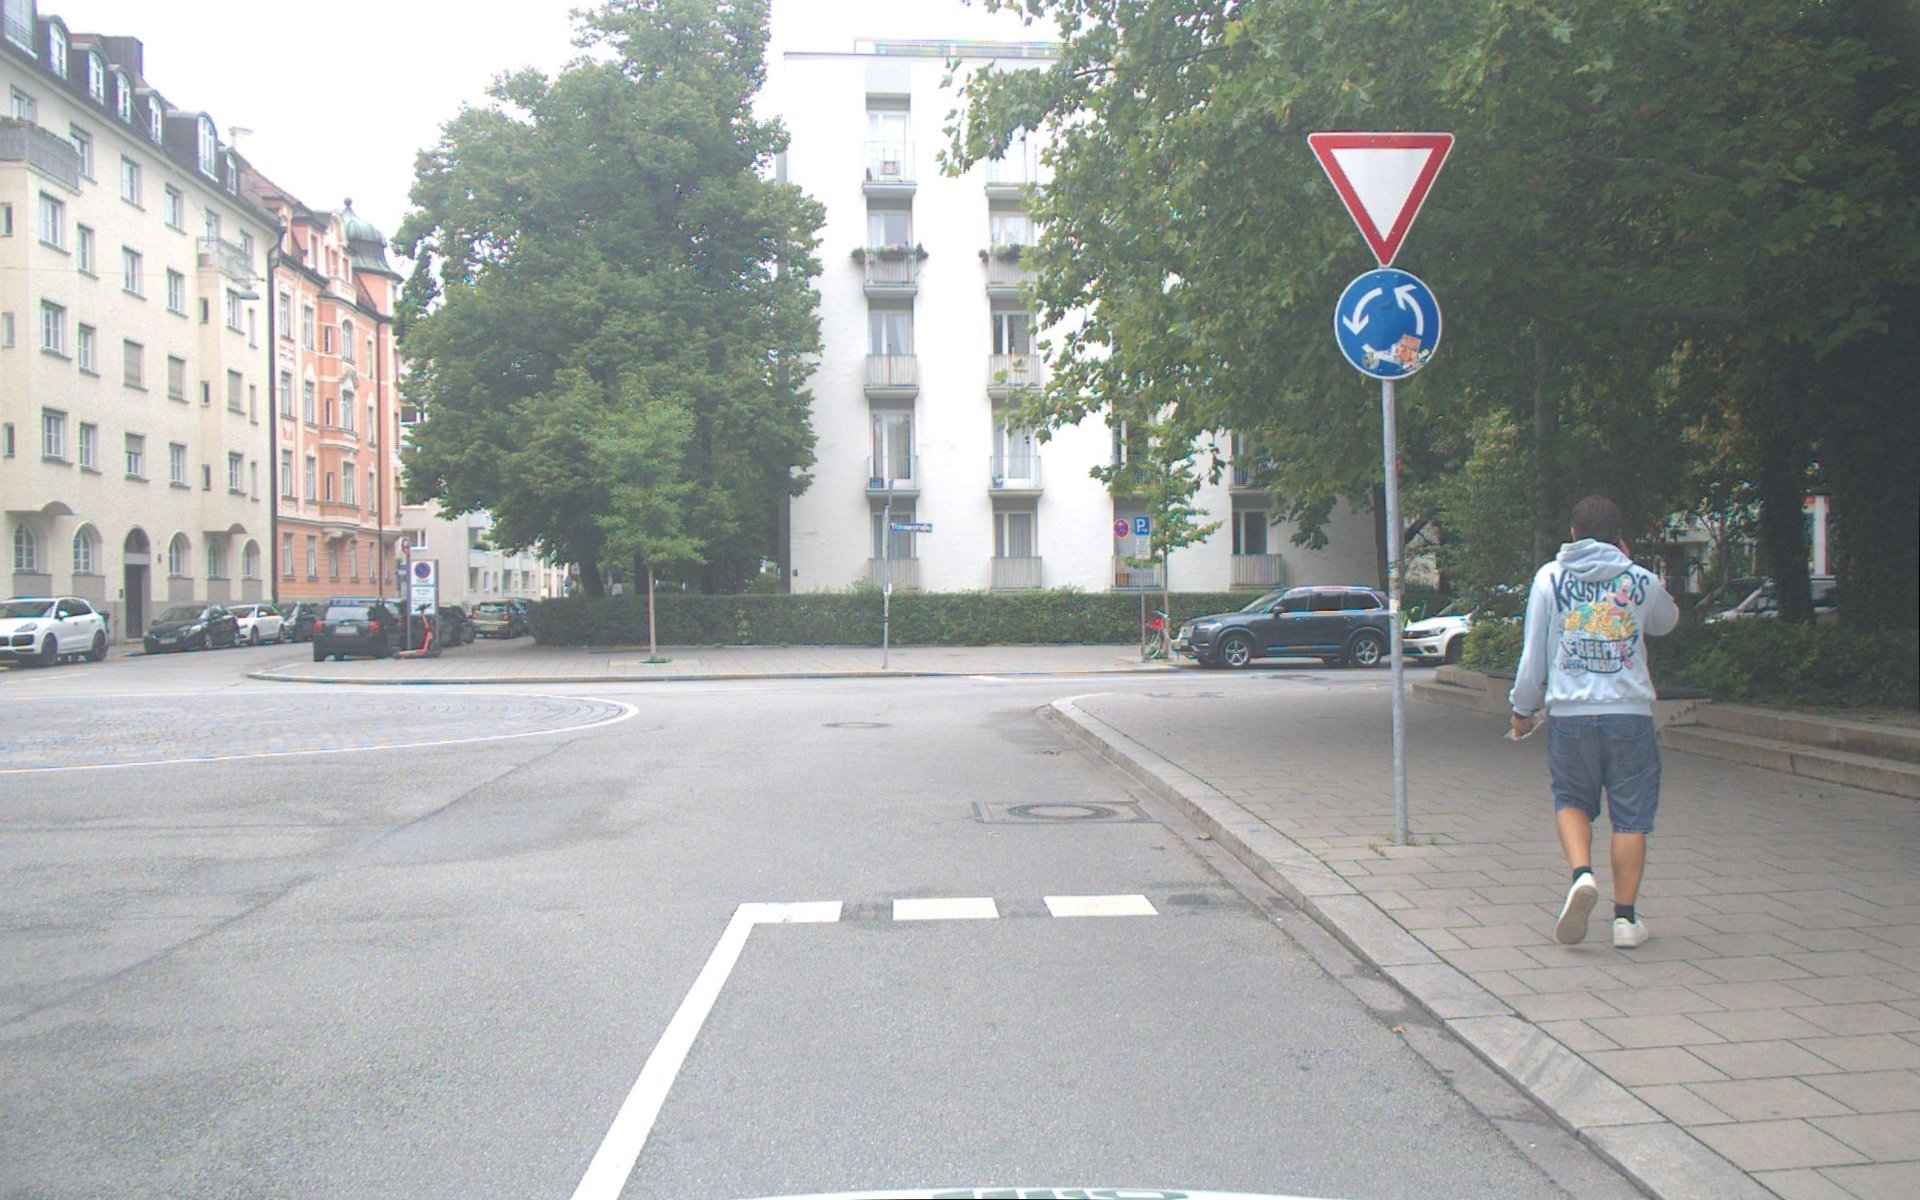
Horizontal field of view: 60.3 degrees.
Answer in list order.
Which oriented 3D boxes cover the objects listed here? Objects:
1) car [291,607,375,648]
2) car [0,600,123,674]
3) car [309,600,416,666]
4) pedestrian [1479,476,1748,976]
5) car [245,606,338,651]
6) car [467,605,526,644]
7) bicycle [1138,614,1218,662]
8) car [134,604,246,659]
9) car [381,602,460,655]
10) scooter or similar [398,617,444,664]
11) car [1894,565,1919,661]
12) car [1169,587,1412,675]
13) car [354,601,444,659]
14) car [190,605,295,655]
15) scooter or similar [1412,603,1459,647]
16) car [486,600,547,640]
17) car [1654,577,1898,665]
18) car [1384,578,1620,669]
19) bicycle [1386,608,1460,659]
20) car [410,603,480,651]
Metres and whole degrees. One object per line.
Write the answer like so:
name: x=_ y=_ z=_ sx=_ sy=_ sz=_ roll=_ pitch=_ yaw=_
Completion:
car: x=-25.319 y=1.081 z=66.908 sx=1.936 sy=1.608 sz=4.405 roll=0 pitch=0 yaw=-4
car: x=-22.964 y=0.868 z=41.427 sx=1.937 sy=1.730 sz=4.834 roll=0 pitch=0 yaw=-6
car: x=-15.091 y=0.788 z=42.002 sx=1.786 sy=1.531 sz=4.411 roll=-2 pitch=0 yaw=-10
pedestrian: x=2.644 y=0.456 z=6.640 sx=0.857 sy=1.802 sz=1.050 roll=-1 pitch=0 yaw=29
car: x=-24.974 y=1.044 z=61.922 sx=1.936 sy=1.608 sz=4.404 roll=0 pitch=0 yaw=-4
car: x=-19.120 y=0.987 z=68.403 sx=1.801 sy=1.531 sz=4.107 roll=-2 pitch=0 yaw=-8
bicycle: x=5.062 y=0.879 z=38.350 sx=1.795 sy=1.067 sz=0.489 roll=-1 pitch=0 yaw=-17
car: x=-24.087 y=0.949 z=51.920 sx=1.939 sy=1.644 sz=4.703 roll=0 pitch=0 yaw=-8
car: x=-16.803 y=0.856 z=51.687 sx=1.761 sy=1.531 sz=4.105 roll=-2 pitch=0 yaw=-10
scooter or similar: x=-12.860 y=0.958 z=39.470 sx=0.989 sy=1.107 sz=0.386 roll=0 pitch=0 yaw=-33
car: x=25.613 y=0.285 z=40.164 sx=5.135 sy=2.312 sz=1.946 roll=0 pitch=-1 yaw=-13
car: x=7.170 y=0.671 z=36.125 sx=4.808 sy=1.823 sz=1.995 roll=0 pitch=-1 yaw=-10
car: x=-15.939 y=0.821 z=47.186 sx=1.761 sy=1.531 sz=4.224 roll=-2 pitch=0 yaw=-10
car: x=-24.566 y=1.003 z=56.775 sx=1.936 sy=1.608 sz=4.404 roll=0 pitch=0 yaw=-4
scooter or similar: x=13.036 y=0.684 z=45.367 sx=1.188 sy=1.214 sz=0.399 roll=0 pitch=0 yaw=-7
car: x=-19.539 y=0.857 z=72.993 sx=1.799 sy=1.663 sz=4.111 roll=-2 pitch=0 yaw=-4
car: x=18.974 y=0.477 z=38.492 sx=5.104 sy=1.967 sz=1.886 roll=0 pitch=-1 yaw=-15
car: x=12.144 y=0.515 z=37.165 sx=4.746 sy=1.952 sz=1.830 roll=0 pitch=-1 yaw=-11
bicycle: x=10.945 y=0.773 z=39.160 sx=0.531 sy=1.169 sz=1.810 roll=-1 pitch=0 yaw=-32
car: x=-17.834 y=0.902 z=57.376 sx=1.761 sy=1.531 sz=4.105 roll=-2 pitch=0 yaw=-10
